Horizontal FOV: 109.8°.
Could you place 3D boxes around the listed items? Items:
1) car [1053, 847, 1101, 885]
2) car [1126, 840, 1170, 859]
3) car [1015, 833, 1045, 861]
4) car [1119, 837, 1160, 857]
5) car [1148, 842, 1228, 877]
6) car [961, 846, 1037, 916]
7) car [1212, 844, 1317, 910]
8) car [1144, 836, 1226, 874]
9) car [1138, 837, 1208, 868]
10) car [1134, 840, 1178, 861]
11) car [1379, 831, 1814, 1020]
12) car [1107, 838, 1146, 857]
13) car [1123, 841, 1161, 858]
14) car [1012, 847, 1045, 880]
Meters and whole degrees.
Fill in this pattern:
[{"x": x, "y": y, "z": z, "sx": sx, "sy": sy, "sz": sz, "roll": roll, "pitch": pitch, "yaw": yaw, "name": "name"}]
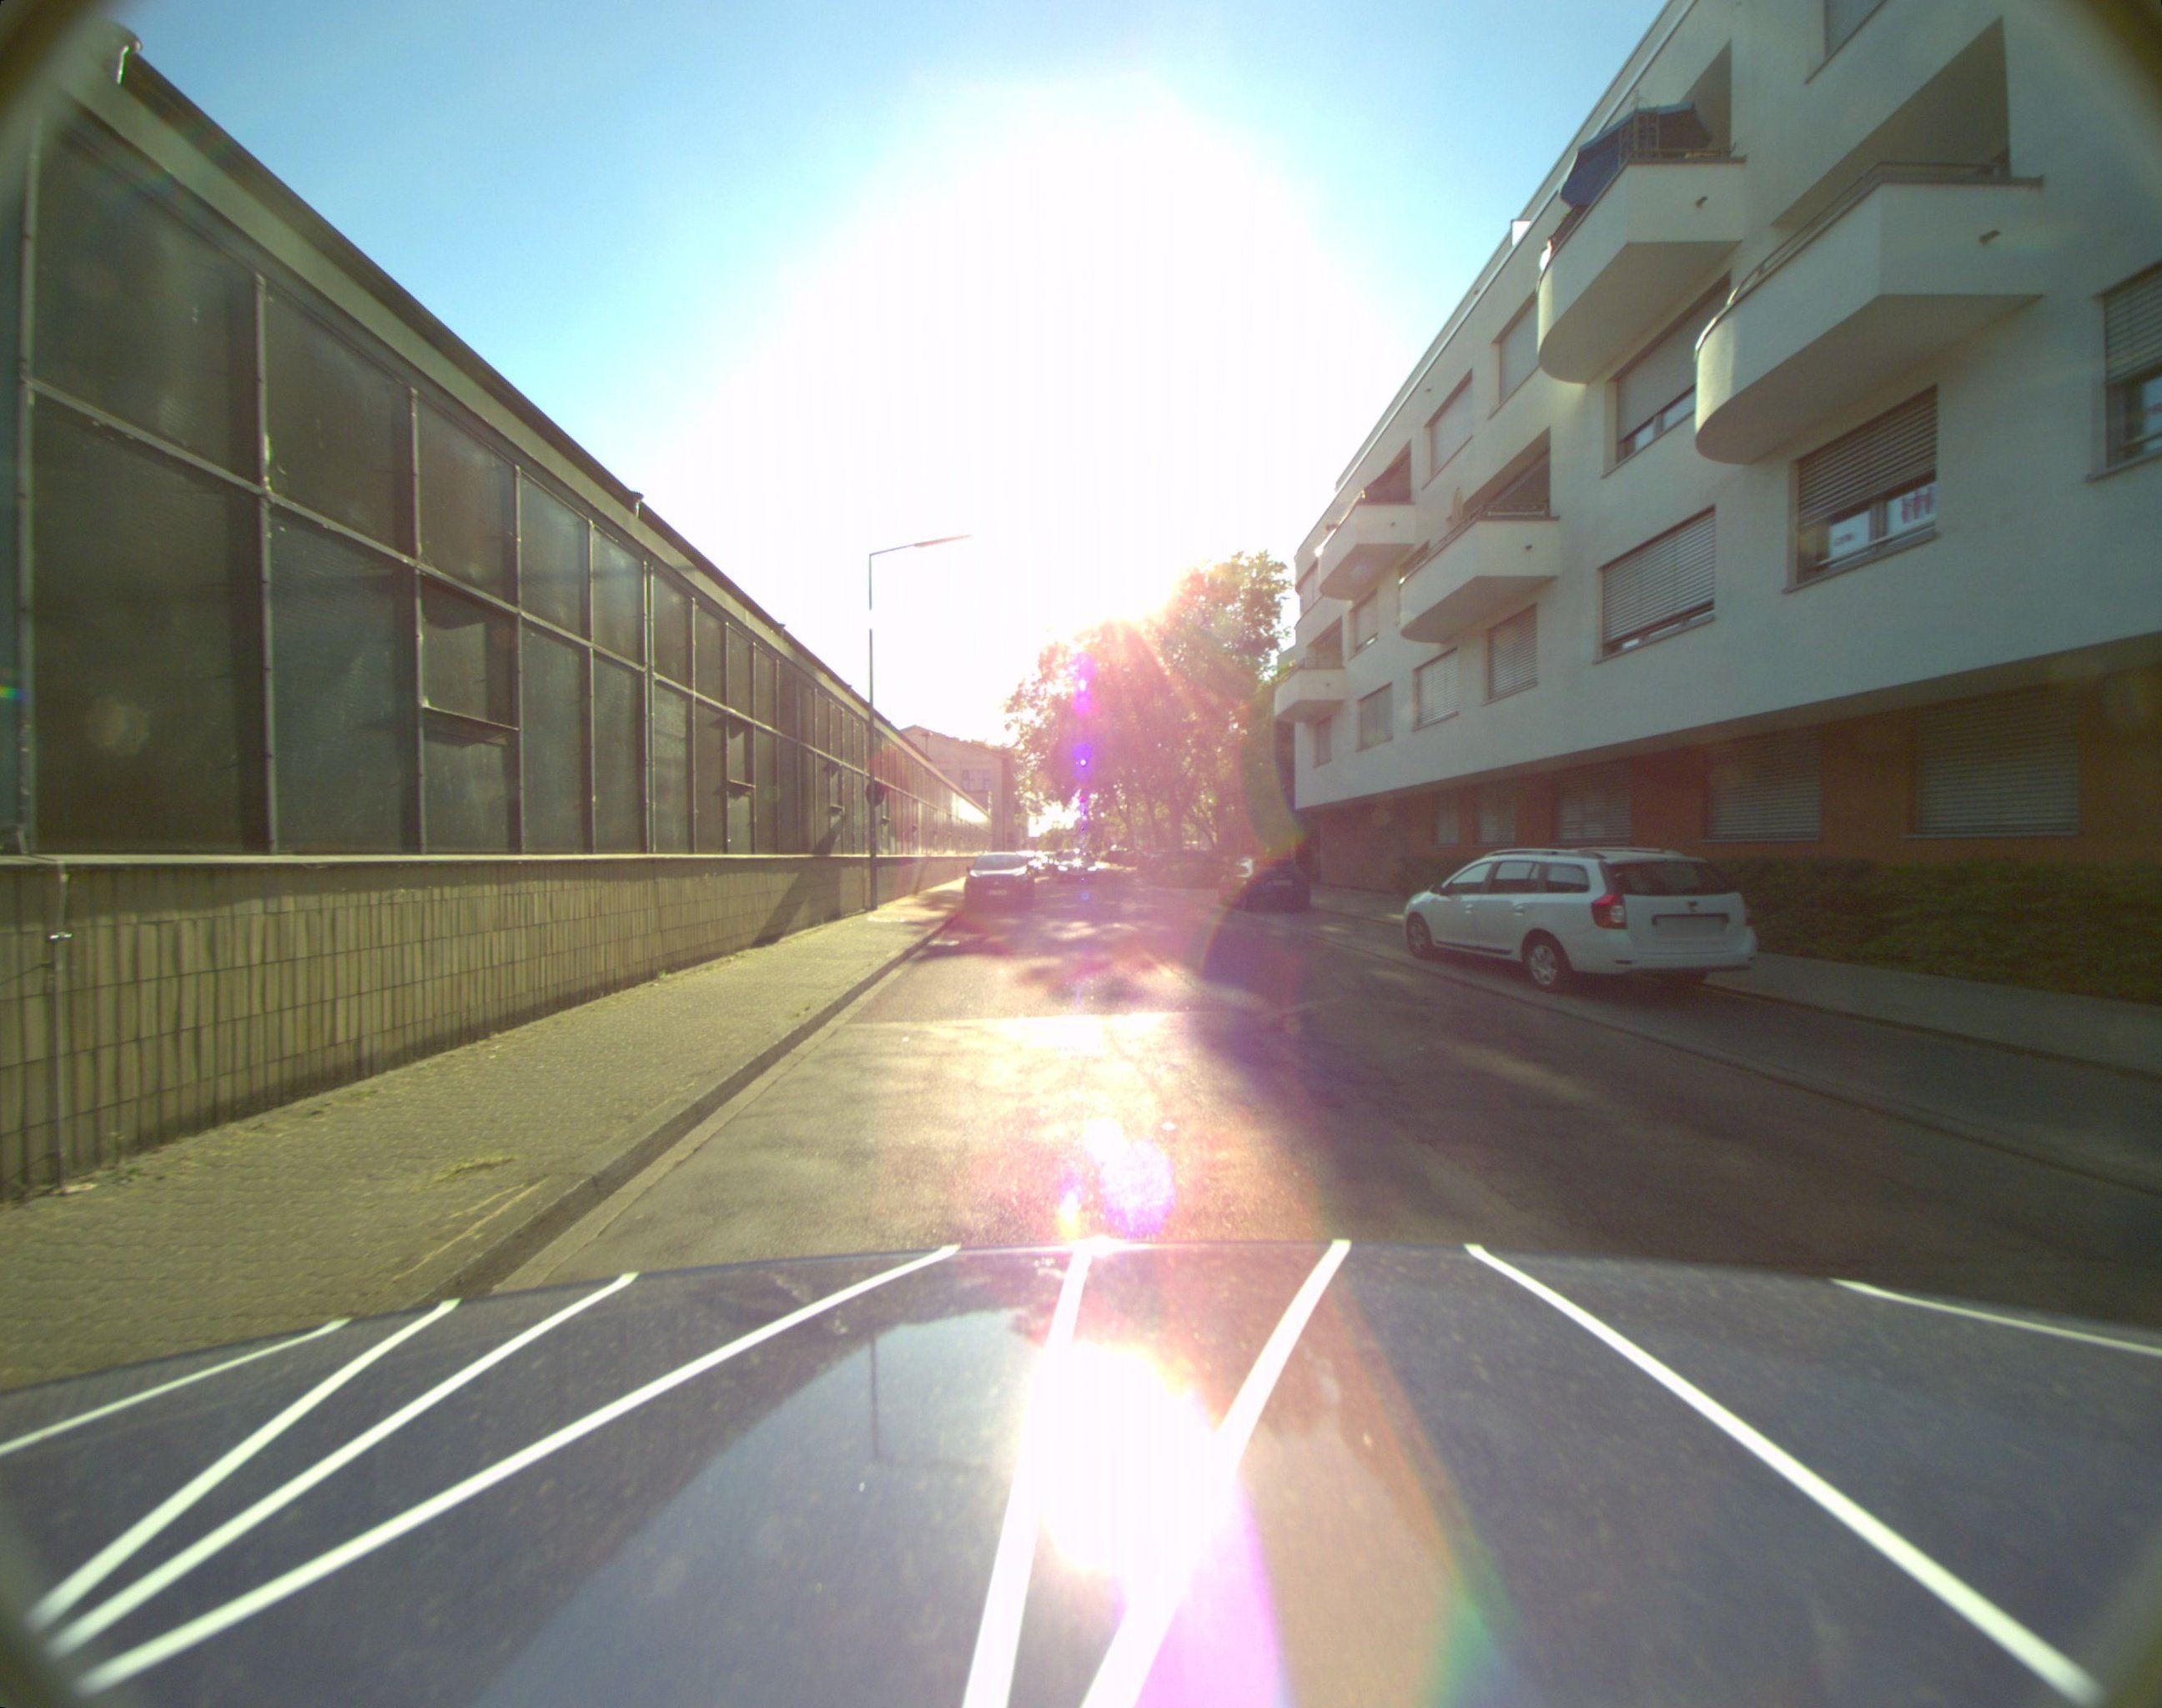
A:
[{"x": -0.252, "y": 0.526, "z": 37.161, "sx": 1.855, "sy": 1.527, "sz": 3.854, "roll": -5, "pitch": 2, "yaw": -5, "name": "car"}, {"x": 6.874, "y": -0.485, "z": 77.709, "sx": 4.002, "sy": 1.615, "sz": 1.795, "roll": -4, "pitch": 2, "yaw": -17, "name": "car"}, {"x": -3.289, "y": -0.507, "z": 49.284, "sx": 1.755, "sy": 1.626, "sz": 4.306, "roll": -4, "pitch": 2, "yaw": -3, "name": "car"}, {"x": 6.405, "y": -0.744, "z": 82.880, "sx": 4.002, "sy": 1.871, "sz": 1.831, "roll": -5, "pitch": 2, "yaw": -19, "name": "car"}, {"x": 6.138, "y": 0.274, "z": 43.450, "sx": 4.144, "sy": 1.631, "sz": 1.773, "roll": -5, "pitch": 3, "yaw": -27, "name": "car"}, {"x": -2.256, "y": 0.667, "z": 21.700, "sx": 1.812, "sy": 1.578, "sz": 4.402, "roll": -5, "pitch": 2, "yaw": -4, "name": "car"}, {"x": 4.914, "y": 0.545, "z": 20.897, "sx": 1.679, "sy": 1.425, "sz": 3.768, "roll": -5, "pitch": 2, "yaw": -3, "name": "car"}, {"x": 5.468, "y": 0.020, "z": 39.938, "sx": 3.965, "sy": 1.653, "sz": 1.696, "roll": -5, "pitch": 3, "yaw": -30, "name": "car"}, {"x": 6.311, "y": -0.121, "z": 52.011, "sx": 4.274, "sy": 1.765, "sz": 1.902, "roll": -5, "pitch": 3, "yaw": -25, "name": "car"}, {"x": 7.047, "y": -0.320, "z": 71.324, "sx": 3.654, "sy": 1.652, "sz": 1.646, "roll": -5, "pitch": 3, "yaw": -29, "name": "car"}, {"x": 5.719, "y": 0.594, "z": 9.354, "sx": 1.863, "sy": 1.578, "sz": 4.617, "roll": -5, "pitch": 2, "yaw": -5, "name": "car"}, {"x": 5.100, "y": -0.727, "z": 85.363, "sx": 4.005, "sy": 1.876, "sz": 1.713, "roll": -5, "pitch": 3, "yaw": -29, "name": "car"}, {"x": 6.445, "y": -0.484, "z": 80.036, "sx": 3.603, "sy": 1.552, "sz": 1.647, "roll": -5, "pitch": 2, "yaw": -21, "name": "car"}, {"x": -3.137, "y": 0.500, "z": 44.687, "sx": 1.755, "sy": 1.626, "sz": 3.998, "roll": -4, "pitch": 2, "yaw": -5, "name": "car"}]
